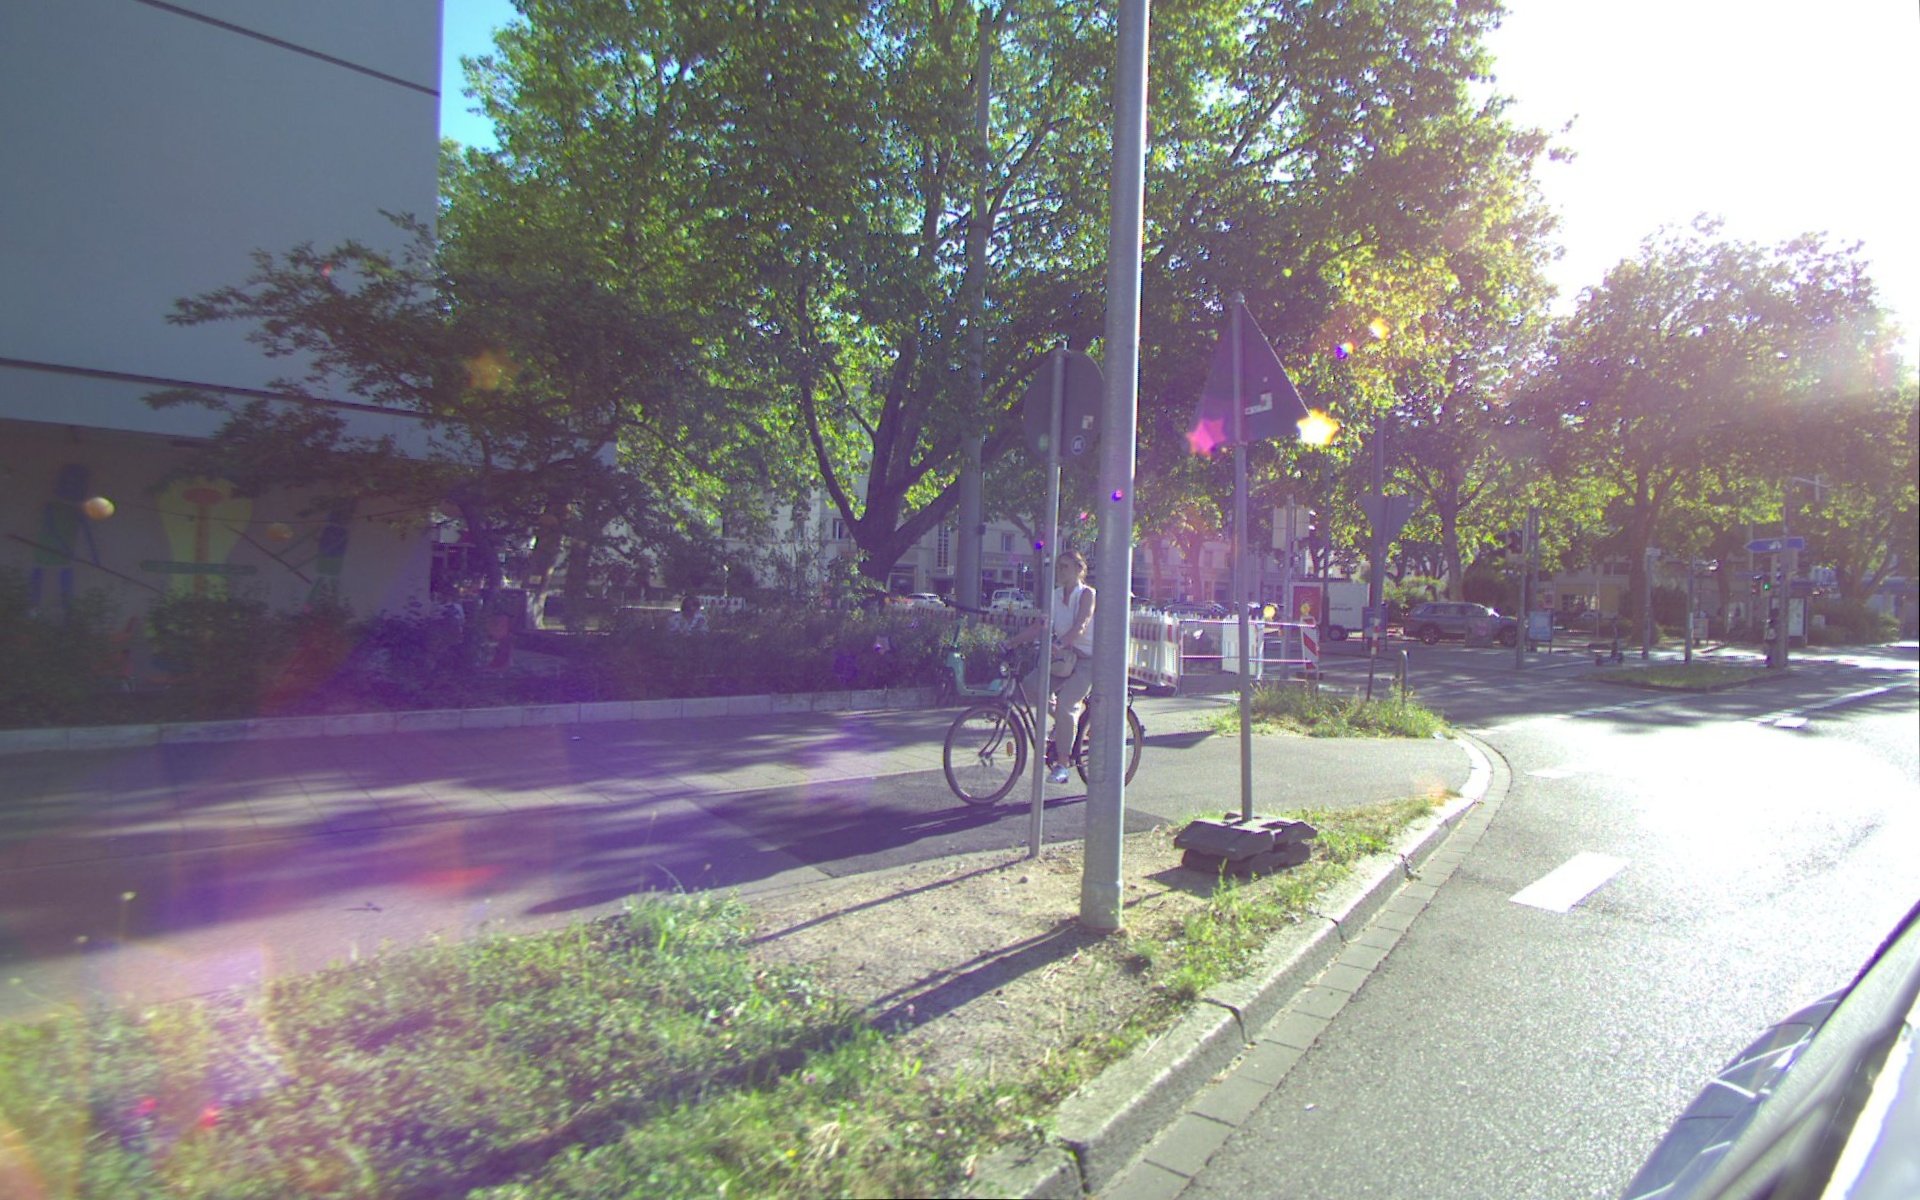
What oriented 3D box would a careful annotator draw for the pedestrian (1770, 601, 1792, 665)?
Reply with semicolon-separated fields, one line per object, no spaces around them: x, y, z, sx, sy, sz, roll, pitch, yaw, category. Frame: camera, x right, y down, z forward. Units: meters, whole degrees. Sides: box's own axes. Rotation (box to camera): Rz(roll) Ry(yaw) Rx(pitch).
21.894;0.873;26.997;0.427;1.660;0.604;0;-2;42;pedestrian

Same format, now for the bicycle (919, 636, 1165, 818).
0.595;0.786;6.842;1.736;1.039;0.604;1;0;-41;bicycle

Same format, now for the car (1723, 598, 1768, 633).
65.304;1.292;84.119;4.630;2.777;1.997;1;-2;-40;car

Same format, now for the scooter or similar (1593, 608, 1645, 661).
16.483;0.860;25.319;1.264;1.273;0.563;1;1;-32;scooter or similar

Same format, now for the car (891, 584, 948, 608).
-3.032;-0.290;74.774;1.702;1.498;4.343;1;3;-45;car

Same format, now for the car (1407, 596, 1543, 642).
19.734;0.725;38.892;4.538;1.661;1.916;0;-1;29;car

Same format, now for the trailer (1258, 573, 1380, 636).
14.766;0.161;41.697;4.475;2.403;1.895;2;-1;29;trailer

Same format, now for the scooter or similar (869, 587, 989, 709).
-0.330;0.510;11.346;1.268;1.273;0.561;1;2;-44;scooter or similar

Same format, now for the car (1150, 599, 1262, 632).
10.628;0.667;43.767;4.397;1.378;1.916;0;-1;29;car

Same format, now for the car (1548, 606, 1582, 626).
56.632;1.499;94.719;4.108;1.681;1.708;2;-1;-43;car

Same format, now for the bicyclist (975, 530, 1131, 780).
0.636;0.346;6.865;0.845;1.570;0.604;2;0;-41;bicyclist

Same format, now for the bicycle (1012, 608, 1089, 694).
1.243;0.652;13.551;0.597;1.039;1.942;2;0;17;bicycle

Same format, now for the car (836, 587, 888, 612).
-6.968;-0.078;71.440;1.788;1.498;4.356;2;2;-34;car

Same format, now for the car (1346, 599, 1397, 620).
39.413;0.957;96.972;2.011;1.941;3.995;1;-1;-39;car

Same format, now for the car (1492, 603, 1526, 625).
53.525;1.369;98.663;4.108;2.053;1.708;2;-1;-43;car

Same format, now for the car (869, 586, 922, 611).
-4.687;-0.138;72.957;1.788;1.498;4.356;2;2;-34;car

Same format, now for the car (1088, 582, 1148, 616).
13.931;-0.082;89.615;2.128;2.700;5.065;1;2;-39;car

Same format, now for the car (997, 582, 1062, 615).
4.511;-0.103;66.186;1.730;1.893;4.350;1;2;-39;car

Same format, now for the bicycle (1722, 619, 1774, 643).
36.917;1.443;47.429;1.805;1.067;0.530;1;-1;24;bicycle
